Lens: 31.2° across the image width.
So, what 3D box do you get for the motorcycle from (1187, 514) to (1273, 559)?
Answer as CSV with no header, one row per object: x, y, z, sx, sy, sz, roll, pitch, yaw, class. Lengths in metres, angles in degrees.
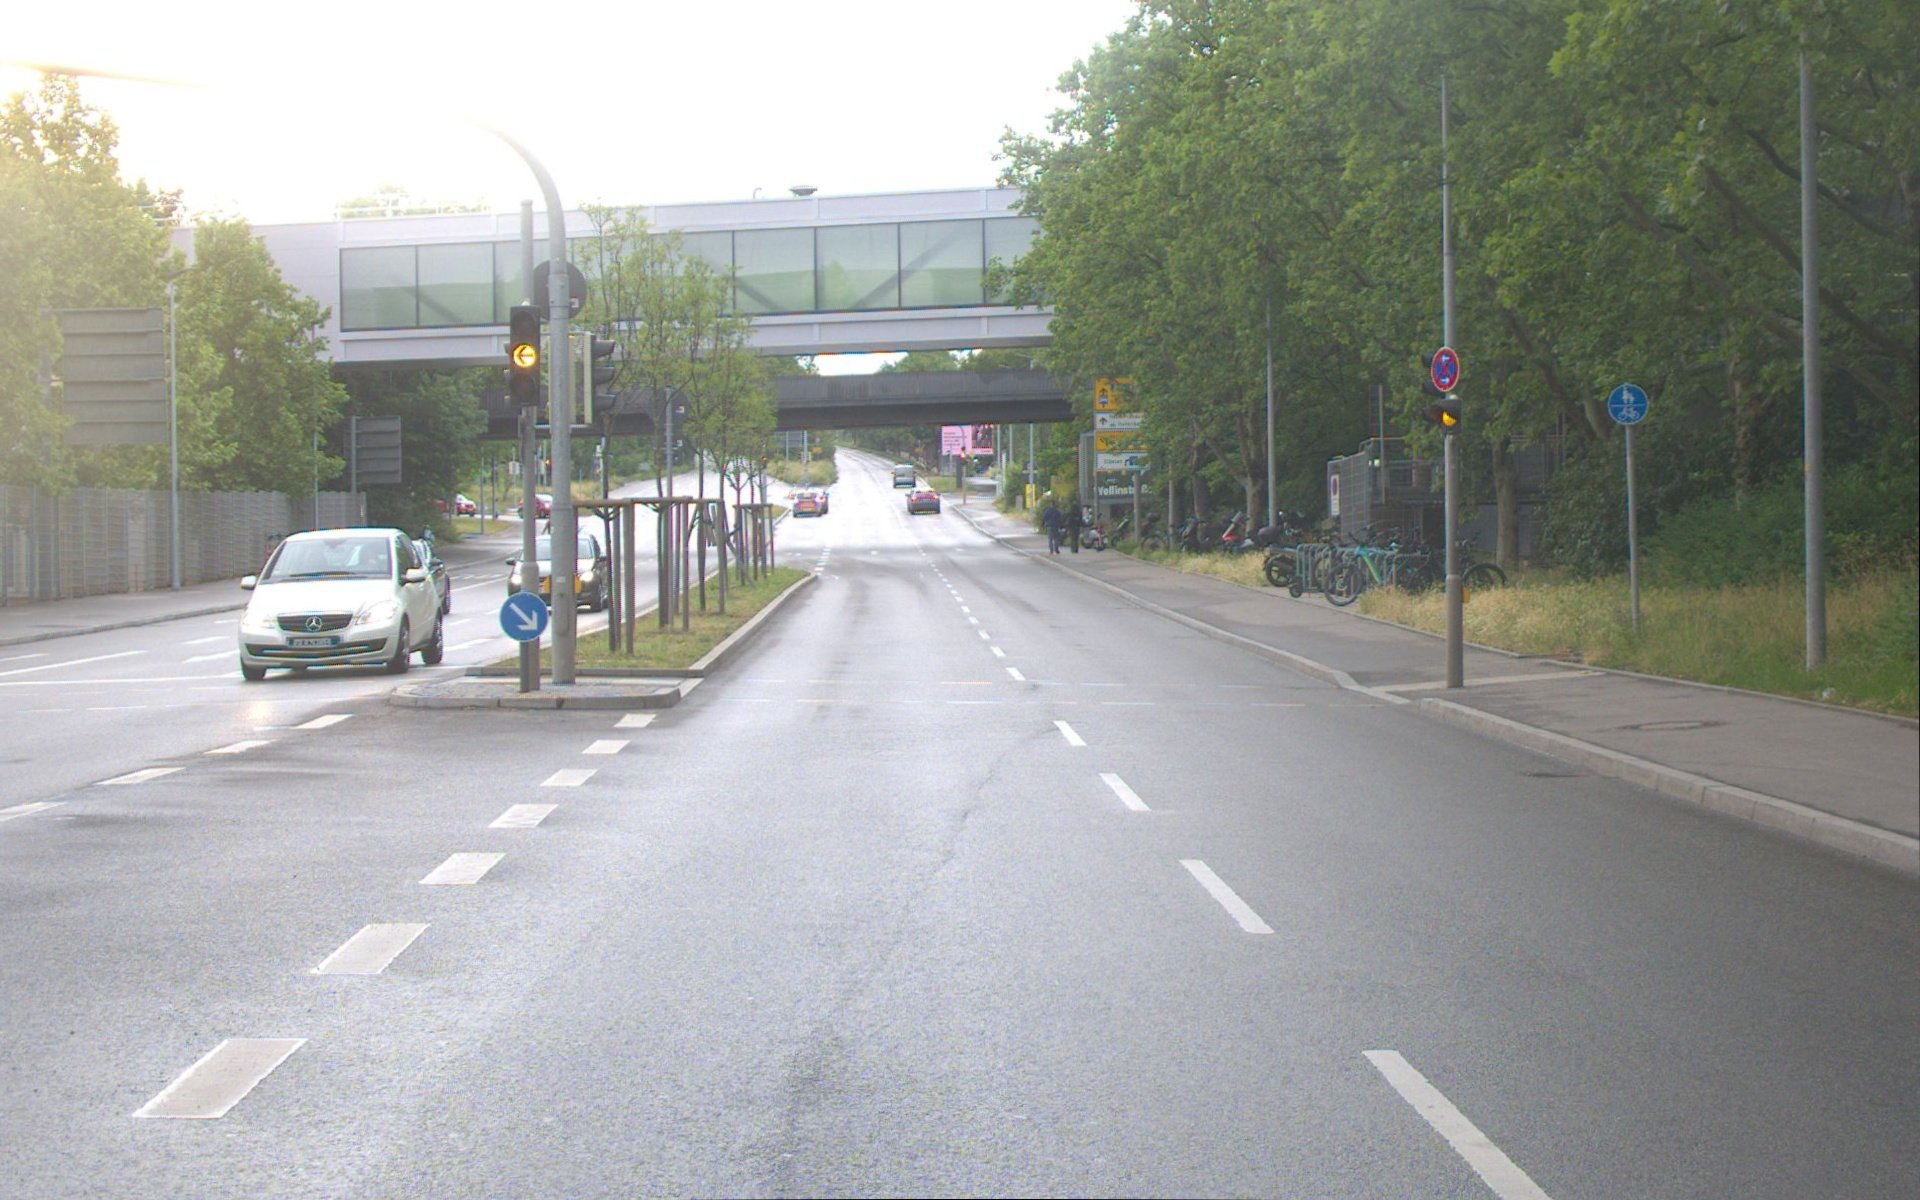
7.603,-1.795,96.790,2.369,1.198,0.722,-1,1,7,motorcycle

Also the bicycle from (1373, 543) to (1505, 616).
7.573,-0.322,54.422,1.990,1.091,0.541,2,0,0,bicycle

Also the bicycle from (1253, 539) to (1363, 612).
6.590,-0.469,65.068,1.990,1.324,0.576,2,0,0,bicycle

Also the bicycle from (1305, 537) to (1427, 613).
6.922,-0.420,58.693,1.990,1.237,0.541,2,0,0,bicycle

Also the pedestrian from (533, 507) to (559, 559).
-16.320,-2.637,135.595,0.872,1.997,0.855,-2,1,-1,pedestrian

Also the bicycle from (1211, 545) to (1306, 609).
6.451,-0.497,74.367,1.963,1.324,0.654,2,0,0,bicycle

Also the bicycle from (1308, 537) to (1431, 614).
6.915,-0.415,58.070,1.990,1.229,0.541,2,0,0,bicycle

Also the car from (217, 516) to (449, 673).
-6.884,-0.097,38.091,1.877,1.619,3.779,-1,1,0,car

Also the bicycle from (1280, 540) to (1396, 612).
6.786,-0.428,61.788,1.990,1.237,0.541,2,0,0,bicycle

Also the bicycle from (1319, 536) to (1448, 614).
6.875,-0.404,55.880,1.990,1.212,0.541,2,0,0,bicycle

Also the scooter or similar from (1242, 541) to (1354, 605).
6.266,-0.495,63.753,1.990,1.134,0.541,2,0,0,scooter or similar

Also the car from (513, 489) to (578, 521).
-26.683,-6.108,221.255,3.997,2.007,1.995,2,0,44,car

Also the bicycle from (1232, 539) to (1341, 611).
6.257,-0.479,65.877,1.990,1.324,0.576,2,0,0,bicycle

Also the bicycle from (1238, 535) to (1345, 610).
6.509,-0.537,67.554,1.990,1.425,0.723,2,0,0,bicycle

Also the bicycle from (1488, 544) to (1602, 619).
10.878,-0.346,63.921,1.990,1.324,0.576,2,0,0,bicycle

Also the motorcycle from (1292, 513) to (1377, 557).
10.781,-1.868,98.924,2.369,1.198,0.722,-1,1,7,motorcycle

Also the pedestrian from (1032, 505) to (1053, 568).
2.686,-2.053,111.558,0.622,2.007,0.605,-2,1,0,pedestrian

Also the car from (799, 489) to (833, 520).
-8.843,-5.833,211.144,1.884,1.756,3.969,2,0,0,car

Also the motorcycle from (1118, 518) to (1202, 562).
5.799,-1.739,99.757,2.369,1.198,0.722,-1,1,7,motorcycle

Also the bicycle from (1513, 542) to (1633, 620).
10.903,-0.341,61.175,1.990,1.324,0.576,2,0,0,bicycle

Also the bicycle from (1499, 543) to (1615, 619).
10.868,-0.344,62.604,1.990,1.324,0.576,2,0,0,bicycle

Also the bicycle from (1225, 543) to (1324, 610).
6.495,-0.491,71.047,1.963,1.324,0.654,2,0,0,bicycle

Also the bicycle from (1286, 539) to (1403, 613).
6.801,-0.426,60.839,1.990,1.237,0.541,2,0,0,bicycle

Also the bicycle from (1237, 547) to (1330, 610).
7.142,-0.479,75.870,1.963,1.324,0.654,2,0,0,bicycle

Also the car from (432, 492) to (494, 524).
-32.813,-6.082,226.876,1.994,2.007,3.998,2,0,-44,car

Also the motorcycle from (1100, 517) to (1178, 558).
5.632,-1.963,107.975,2.369,1.198,0.792,-1,1,7,motorcycle

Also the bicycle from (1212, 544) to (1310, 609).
6.357,-0.497,72.649,1.963,1.324,0.654,2,0,0,bicycle

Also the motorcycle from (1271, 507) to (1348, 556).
10.999,-2.156,108.262,2.369,1.471,0.722,-1,1,7,motorcycle

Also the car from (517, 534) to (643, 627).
-6.911,-0.384,62.857,1.877,1.619,3.779,-1,1,0,car

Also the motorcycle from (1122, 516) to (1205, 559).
6.013,-1.846,101.528,2.369,1.198,0.722,-1,1,7,motorcycle

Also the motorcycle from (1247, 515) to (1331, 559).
9.592,-1.839,100.234,2.369,1.198,0.722,-1,1,7,motorcycle

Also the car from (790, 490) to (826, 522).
-9.126,-5.648,206.746,1.993,1.756,4.000,2,0,0,car

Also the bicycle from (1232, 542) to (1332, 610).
6.590,-0.488,70.357,1.960,1.324,0.576,2,0,0,bicycle

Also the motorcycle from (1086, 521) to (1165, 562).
5.113,-1.796,106.280,2.369,1.198,0.722,-1,1,7,motorcycle

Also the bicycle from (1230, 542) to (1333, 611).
6.464,-0.478,69.119,1.990,1.324,0.576,2,0,0,bicycle

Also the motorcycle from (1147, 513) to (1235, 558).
6.410,-1.789,95.314,2.369,1.198,0.722,-1,1,7,motorcycle

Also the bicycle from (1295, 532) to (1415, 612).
6.906,-0.488,60.147,1.990,1.336,0.541,2,0,0,bicycle

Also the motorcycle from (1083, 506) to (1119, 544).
4.983,-2.640,121.936,0.790,1.307,2.377,-2,1,-9,motorcycle

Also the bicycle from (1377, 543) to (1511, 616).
7.579,-0.321,53.853,1.990,1.091,0.541,2,0,0,bicycle

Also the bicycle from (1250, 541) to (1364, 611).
6.371,-0.441,63.162,1.990,1.237,0.541,2,0,0,bicycle

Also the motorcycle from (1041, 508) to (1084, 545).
3.733,-2.680,125.386,0.790,1.307,2.377,-2,1,-19,motorcycle

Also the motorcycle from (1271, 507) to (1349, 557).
10.907,-2.113,107.028,2.369,1.471,0.722,-1,1,7,motorcycle

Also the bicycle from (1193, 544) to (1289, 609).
6.016,-0.508,73.562,1.963,1.324,0.654,2,0,0,bicycle

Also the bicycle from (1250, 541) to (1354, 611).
6.800,-0.479,68.408,1.990,1.324,0.576,2,0,0,bicycle

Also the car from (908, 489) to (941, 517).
-2.101,-5.715,202.936,1.875,1.492,4.068,2,0,0,car

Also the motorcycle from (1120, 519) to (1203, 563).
5.903,-1.729,100.615,2.369,1.198,0.722,-1,1,7,motorcycle

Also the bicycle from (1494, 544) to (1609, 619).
10.875,-0.345,63.252,1.990,1.324,0.576,2,0,0,bicycle

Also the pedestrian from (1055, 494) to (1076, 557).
3.420,-2.408,111.504,0.622,2.007,0.605,-2,1,0,pedestrian

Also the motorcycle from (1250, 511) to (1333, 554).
9.747,-1.971,101.114,2.369,1.198,0.722,-1,1,7,motorcycle
